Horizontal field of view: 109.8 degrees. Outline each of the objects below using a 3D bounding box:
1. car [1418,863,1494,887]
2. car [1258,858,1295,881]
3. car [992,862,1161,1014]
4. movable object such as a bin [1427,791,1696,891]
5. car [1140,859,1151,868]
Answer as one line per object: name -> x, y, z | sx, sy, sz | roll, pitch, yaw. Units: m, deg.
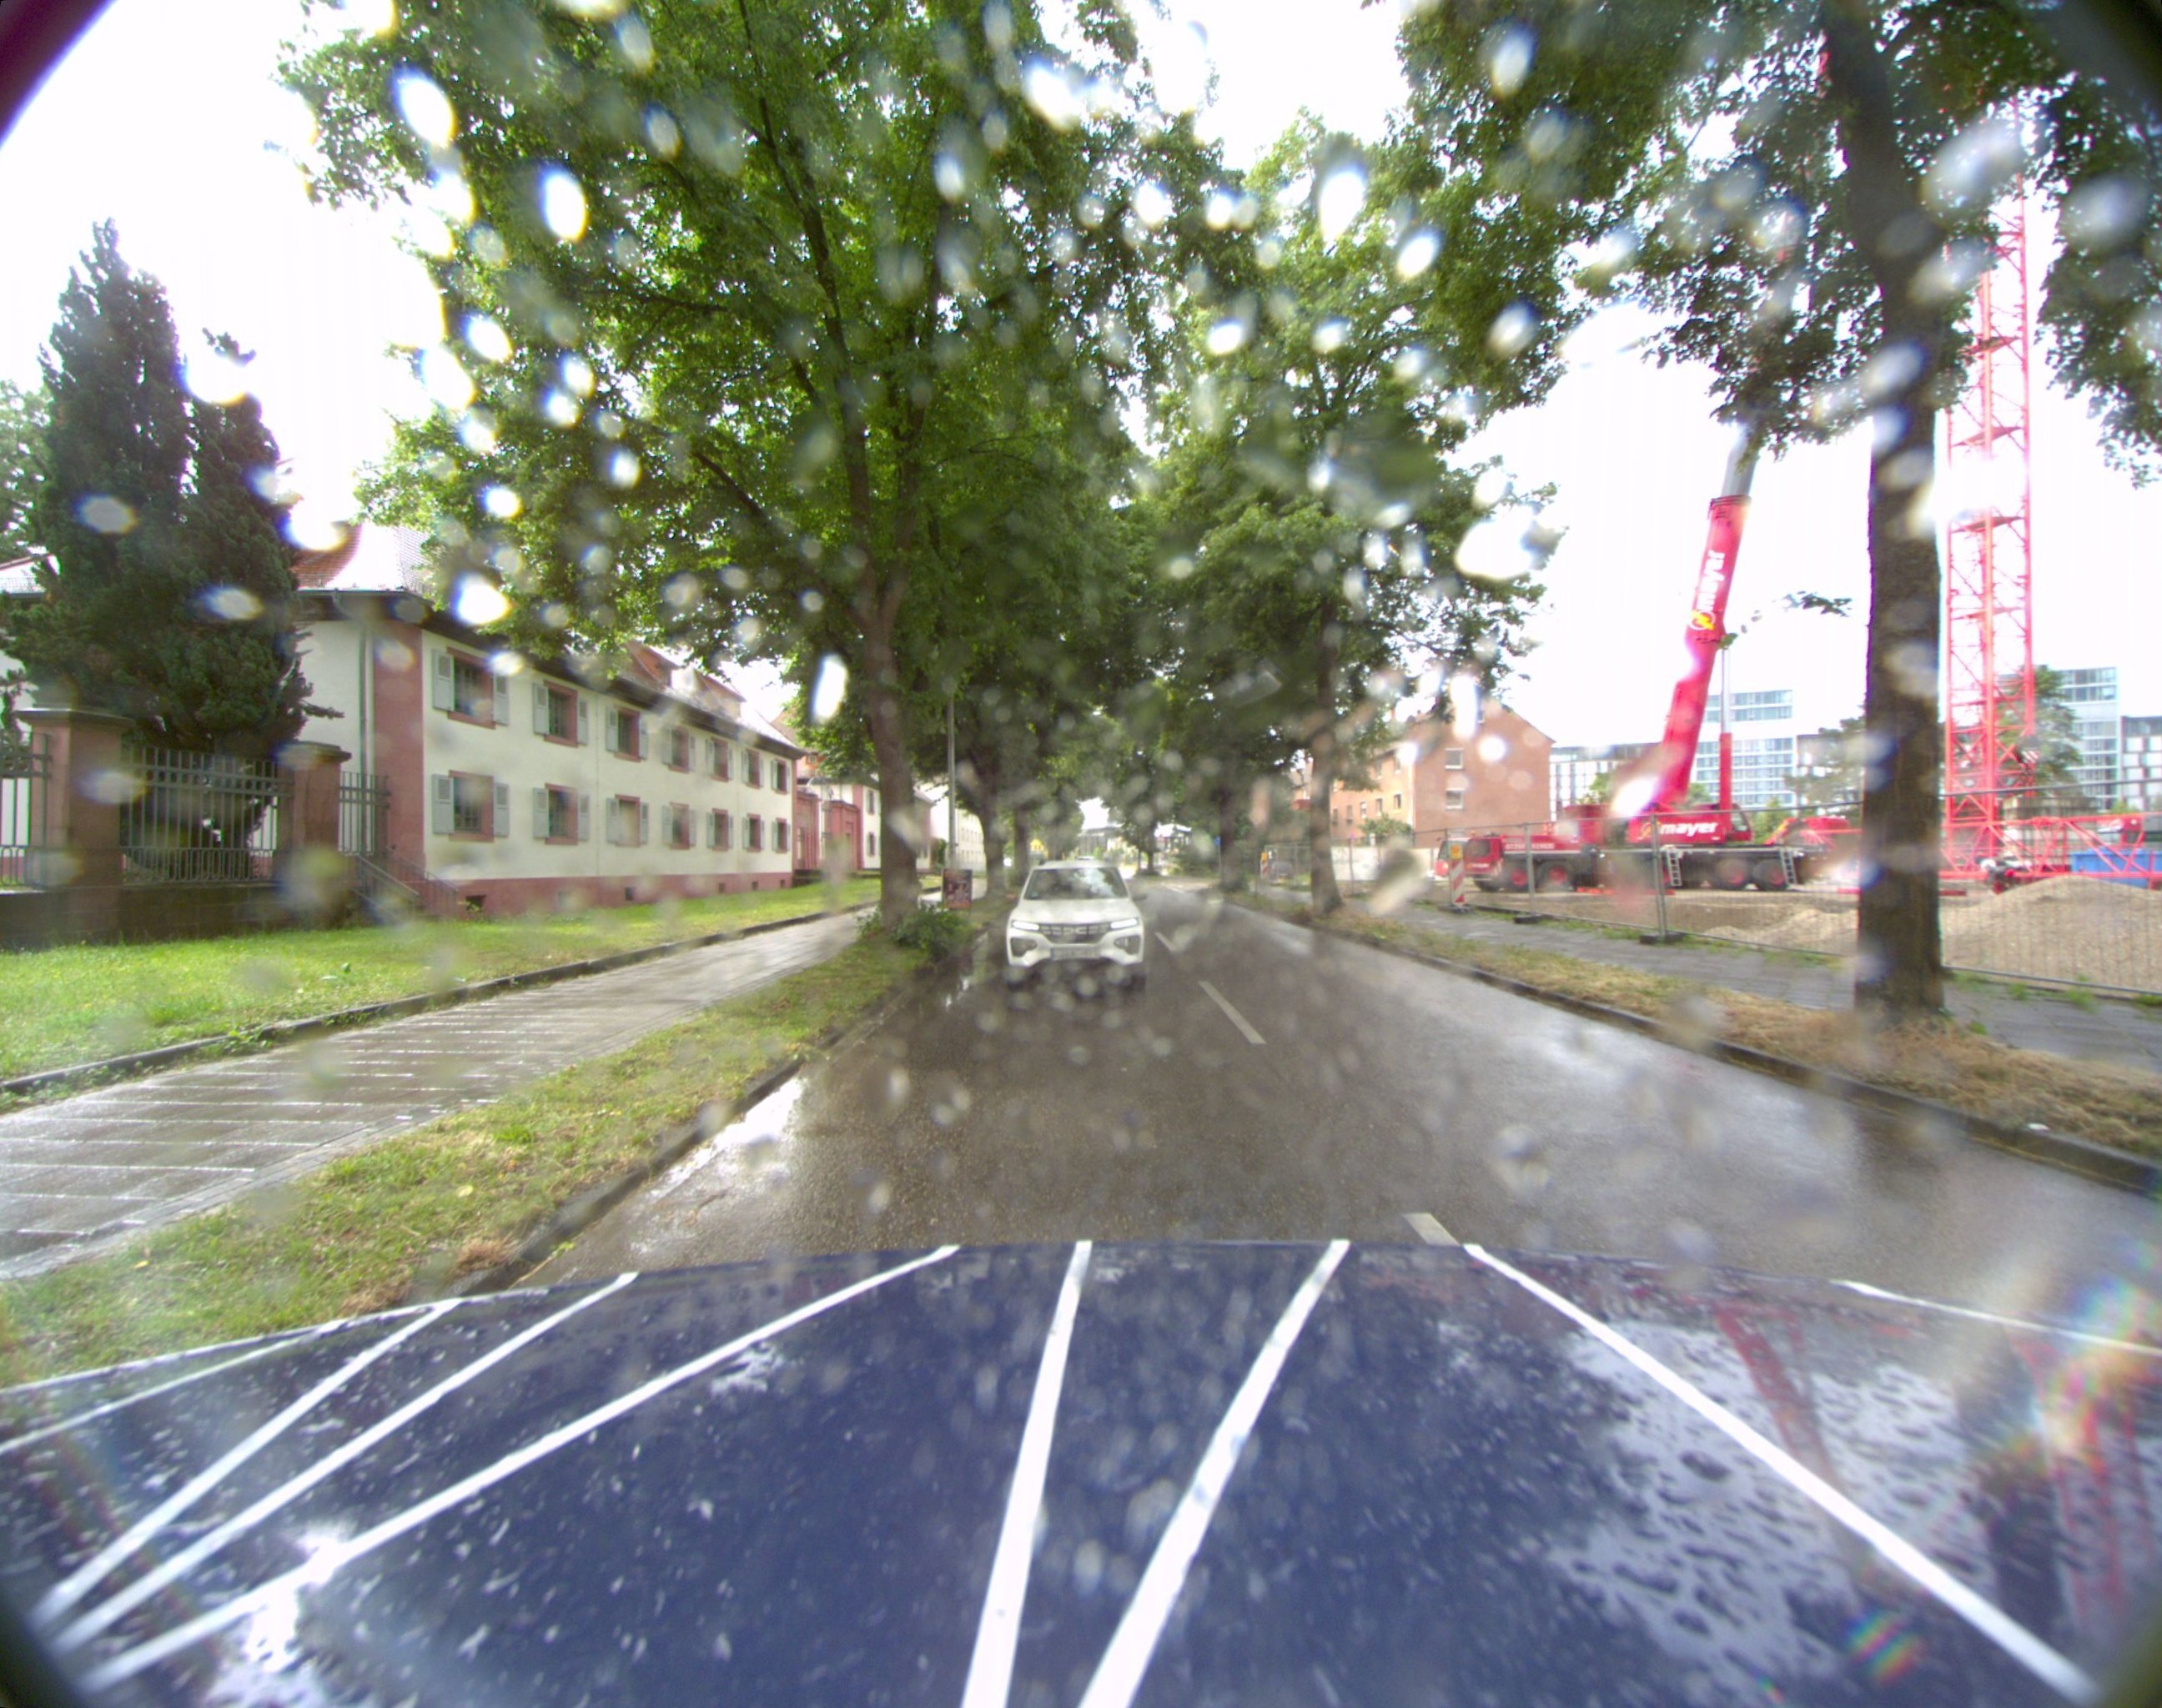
car -> 23.427, 1.280, 47.523 | 4.067, 1.405, 1.726 | 0, 0, -11
car -> 13.595, 1.029, 52.966 | 1.628, 1.412, 3.870 | -2, 1, 2
car -> -0.143, 0.899, 9.803 | 1.737, 1.525, 3.616 | -2, 0, -3
movable object such as a bin -> 21.362, -0.516, 34.332 | 9.834, 4.090, 3.367 | -1, -1, 3
car -> 12.550, 1.835, 148.758 | 1.891, 1.703, 4.230 | 0, 0, 1
